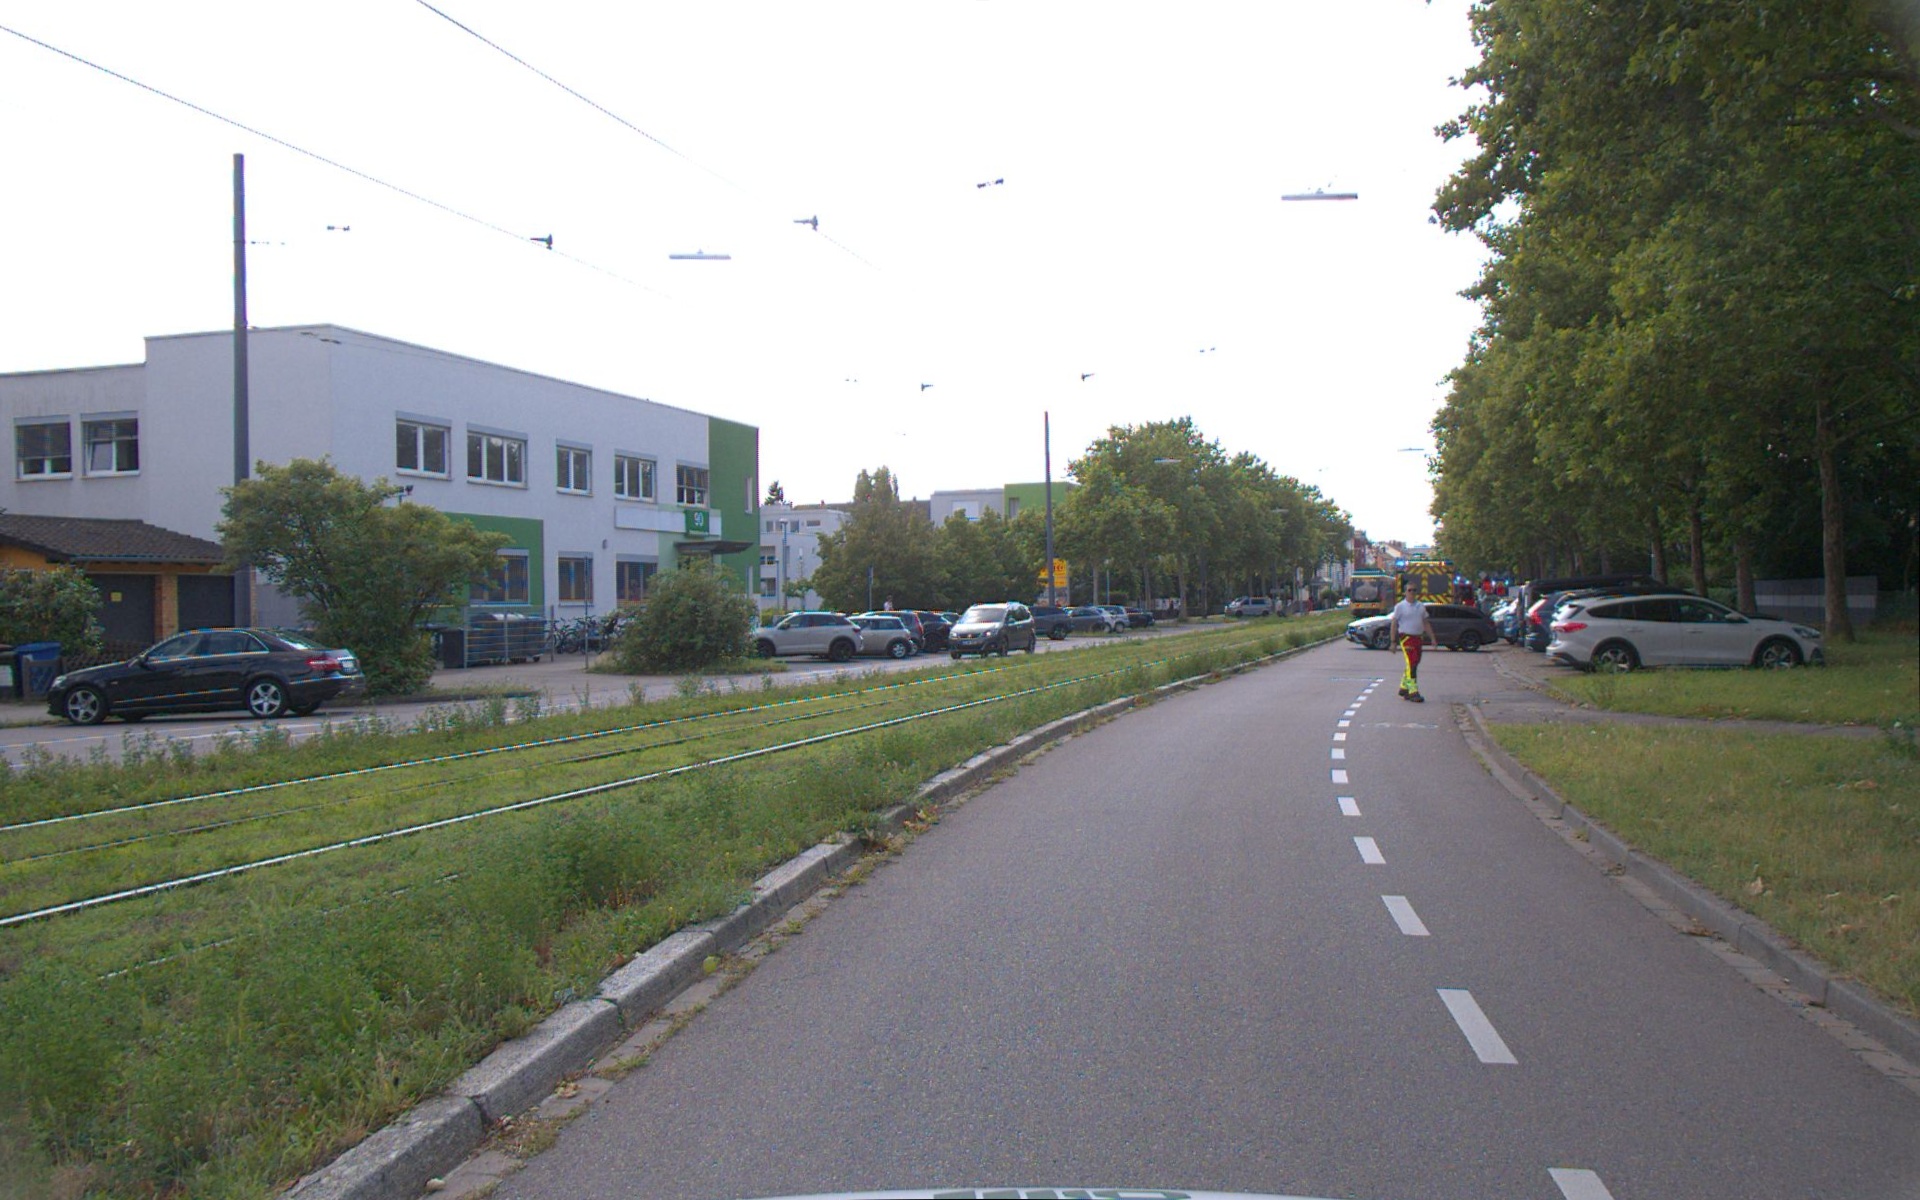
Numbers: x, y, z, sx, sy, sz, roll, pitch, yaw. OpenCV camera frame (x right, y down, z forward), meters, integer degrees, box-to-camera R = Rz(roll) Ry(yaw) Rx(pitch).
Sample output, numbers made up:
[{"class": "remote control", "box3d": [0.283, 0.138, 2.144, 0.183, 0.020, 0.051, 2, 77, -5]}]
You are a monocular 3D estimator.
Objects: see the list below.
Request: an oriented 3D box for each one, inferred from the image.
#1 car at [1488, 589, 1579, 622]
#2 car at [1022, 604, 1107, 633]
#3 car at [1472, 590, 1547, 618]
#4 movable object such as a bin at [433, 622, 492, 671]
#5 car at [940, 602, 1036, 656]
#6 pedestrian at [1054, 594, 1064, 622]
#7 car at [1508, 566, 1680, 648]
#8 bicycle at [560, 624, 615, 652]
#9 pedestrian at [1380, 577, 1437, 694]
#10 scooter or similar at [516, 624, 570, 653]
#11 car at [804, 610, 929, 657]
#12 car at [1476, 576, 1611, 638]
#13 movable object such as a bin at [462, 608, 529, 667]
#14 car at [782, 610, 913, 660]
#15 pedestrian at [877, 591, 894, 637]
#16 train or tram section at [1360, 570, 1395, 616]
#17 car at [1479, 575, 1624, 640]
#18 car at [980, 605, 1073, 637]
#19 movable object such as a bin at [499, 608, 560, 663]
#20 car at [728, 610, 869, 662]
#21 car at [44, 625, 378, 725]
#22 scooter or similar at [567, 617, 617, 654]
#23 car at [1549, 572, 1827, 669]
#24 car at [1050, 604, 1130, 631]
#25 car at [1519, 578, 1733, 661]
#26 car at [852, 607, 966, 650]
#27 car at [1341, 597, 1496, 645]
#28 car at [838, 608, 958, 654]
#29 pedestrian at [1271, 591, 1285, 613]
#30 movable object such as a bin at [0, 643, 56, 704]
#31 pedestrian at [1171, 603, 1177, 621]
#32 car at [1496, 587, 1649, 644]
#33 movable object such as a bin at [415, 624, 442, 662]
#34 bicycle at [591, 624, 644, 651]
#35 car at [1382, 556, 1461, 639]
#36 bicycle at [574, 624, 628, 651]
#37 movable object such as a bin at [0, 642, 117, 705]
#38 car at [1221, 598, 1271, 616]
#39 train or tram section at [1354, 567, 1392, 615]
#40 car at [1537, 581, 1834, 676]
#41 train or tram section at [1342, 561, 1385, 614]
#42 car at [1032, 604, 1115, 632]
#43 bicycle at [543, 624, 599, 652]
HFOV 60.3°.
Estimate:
[{"class": "car", "box3d": [31.107, 0.308, 89.782, 4.449, 1.637, 1.857, -2, -1, 14]}, {"class": "car", "box3d": [5.537, 0.983, 87.635, 4.156, 1.508, 1.873, 0, -1, -19]}, {"class": "car", "box3d": [35.636, 0.276, 107.331, 4.449, 1.637, 1.857, -2, -1, 14]}, {"class": "movable object such as a bin", "box3d": [-13.496, 1.241, 44.890, 0.985, 1.255, 1.256, 0, 1, 19]}, {"class": "car", "box3d": [0.951, 0.901, 53.405, 1.951, 1.585, 4.373, -3, -1, 16]}, {"class": "pedestrian", "box3d": [6.235, 0.511, 104.410, 0.456, 1.706, 0.604, -1, -1, 15]}, {"class": "car", "box3d": [18.278, 0.221, 47.915, 4.450, 2.160, 1.857, -2, -1, 17]}, {"class": "bicycle", "box3d": [-12.710, 1.288, 56.446, 1.819, 0.915, 0.459, 1, -1, 18]}, {"class": "pedestrian", "box3d": [6.695, 0.521, 24.652, 0.786, 1.716, 0.851, -1, -1, 16]}, {"class": "scooter or similar", "box3d": [-13.589, 1.251, 53.921, 1.699, 0.915, 0.459, 1, -1, 18]}, {"class": "car", "box3d": [-3.298, 1.164, 58.276, 4.147, 1.508, 1.878, -2, 0, -12]}, {"class": "car", "box3d": [21.520, 0.258, 61.137, 4.449, 2.079, 1.857, -2, -1, 14]}, {"class": "movable object such as a bin", "box3d": [-13.000, 1.034, 46.344, 0.985, 1.546, 1.712, 0, 1, 19]}, {"class": "car", "box3d": [-3.778, 1.155, 55.461, 4.147, 1.508, 1.878, -2, 0, -12]}, {"class": "pedestrian", "box3d": [-3.057, 0.571, 67.578, 0.534, 1.860, 0.509, -1, -1, 15]}, {"class": "train or tram section", "box3d": [35.709, -0.550, 141.446, 2.459, 3.647, 7.449, -3, -2, 17]}, {"class": "car", "box3d": [20.226, 0.274, 56.724, 4.449, 2.036, 1.857, -2, -1, 14]}, {"class": "car", "box3d": [3.121, 0.981, 77.832, 4.141, 1.508, 1.880, 0, -1, -8]}, {"class": "movable object such as a bin", "box3d": [-12.461, 1.014, 47.954, 0.985, 1.546, 1.605, 0, 1, 19]}, {"class": "car", "box3d": [-5.151, 1.127, 52.578, 4.154, 1.508, 1.874, -2, 0, -17]}, {"class": "car", "box3d": [-12.092, 1.207, 26.933, 4.543, 1.432, 1.882, -2, -2, -3]}, {"class": "scooter or similar", "box3d": [-11.928, 1.152, 53.593, 1.085, 1.176, 1.286, 1, -1, -44]}, {"class": "car", "box3d": [13.822, 0.391, 31.684, 4.559, 1.654, 1.849, -2, 0, 14]}, {"class": "car", "box3d": [7.324, 0.985, 93.363, 4.156, 1.508, 1.873, 0, -1, -19]}, {"class": "car", "box3d": [14.758, 0.451, 36.893, 4.289, 1.668, 1.757, -2, -1, 19]}, {"class": "car", "box3d": [-1.995, 1.106, 64.222, 4.147, 1.508, 1.878, -2, 0, -12]}, {"class": "car", "box3d": [14.225, 0.629, 51.491, 4.360, 1.410, 1.767, 1, 0, 3]}, {"class": "car", "box3d": [-2.308, 1.132, 61.095, 4.147, 1.508, 1.878, -2, 0, -12]}, {"class": "pedestrian", "box3d": [22.622, 0.155, 117.736, 0.862, 1.552, 0.751, 0, -1, 17]}, {"class": "movable object such as a bin", "box3d": [-18.532, 1.421, 31.781, 1.227, 1.111, 1.619, -1, 0, 16]}, {"class": "pedestrian", "box3d": [17.922, 1.011, 138.753, 0.412, 1.499, 0.468, -1, -1, 13]}, {"class": "car", "box3d": [19.985, 0.506, 54.136, 4.448, 1.689, 1.857, -2, -1, 13]}, {"class": "movable object such as a bin", "box3d": [-15.594, 1.259, 48.529, 0.556, 1.060, 0.564, 0, 1, 18]}, {"class": "bicycle", "box3d": [-12.081, 1.311, 58.301, 1.819, 0.915, 0.459, 1, -1, 18]}, {"class": "car", "box3d": [18.032, -0.096, 64.380, 2.586, 3.018, 6.302, 2, 0, 19]}, {"class": "bicycle", "box3d": [-12.436, 1.300, 57.304, 1.819, 0.915, 0.459, 1, -1, 18]}, {"class": "movable object such as a bin", "box3d": [-17.142, 1.382, 31.423, 1.227, 1.120, 1.619, -1, 0, 16]}, {"class": "car", "box3d": [28.177, 0.672, 163.103, 4.548, 1.661, 1.871, -1, 0, -22]}, {"class": "train or tram section", "box3d": [33.587, -0.648, 134.367, 2.459, 3.647, 7.449, -3, -2, 17]}, {"class": "car", "box3d": [12.864, 0.508, 29.631, 4.559, 1.499, 1.849, -2, 0, 14]}, {"class": "train or tram section", "box3d": [29.335, -0.846, 120.102, 2.459, 3.647, 7.449, -3, -2, 17]}, {"class": "car", "box3d": [6.209, 0.988, 90.547, 4.156, 1.508, 1.873, 0, -1, -19]}, {"class": "bicycle", "box3d": [-13.022, 1.273, 55.343, 1.819, 0.915, 0.459, 1, -1, 18]}]
